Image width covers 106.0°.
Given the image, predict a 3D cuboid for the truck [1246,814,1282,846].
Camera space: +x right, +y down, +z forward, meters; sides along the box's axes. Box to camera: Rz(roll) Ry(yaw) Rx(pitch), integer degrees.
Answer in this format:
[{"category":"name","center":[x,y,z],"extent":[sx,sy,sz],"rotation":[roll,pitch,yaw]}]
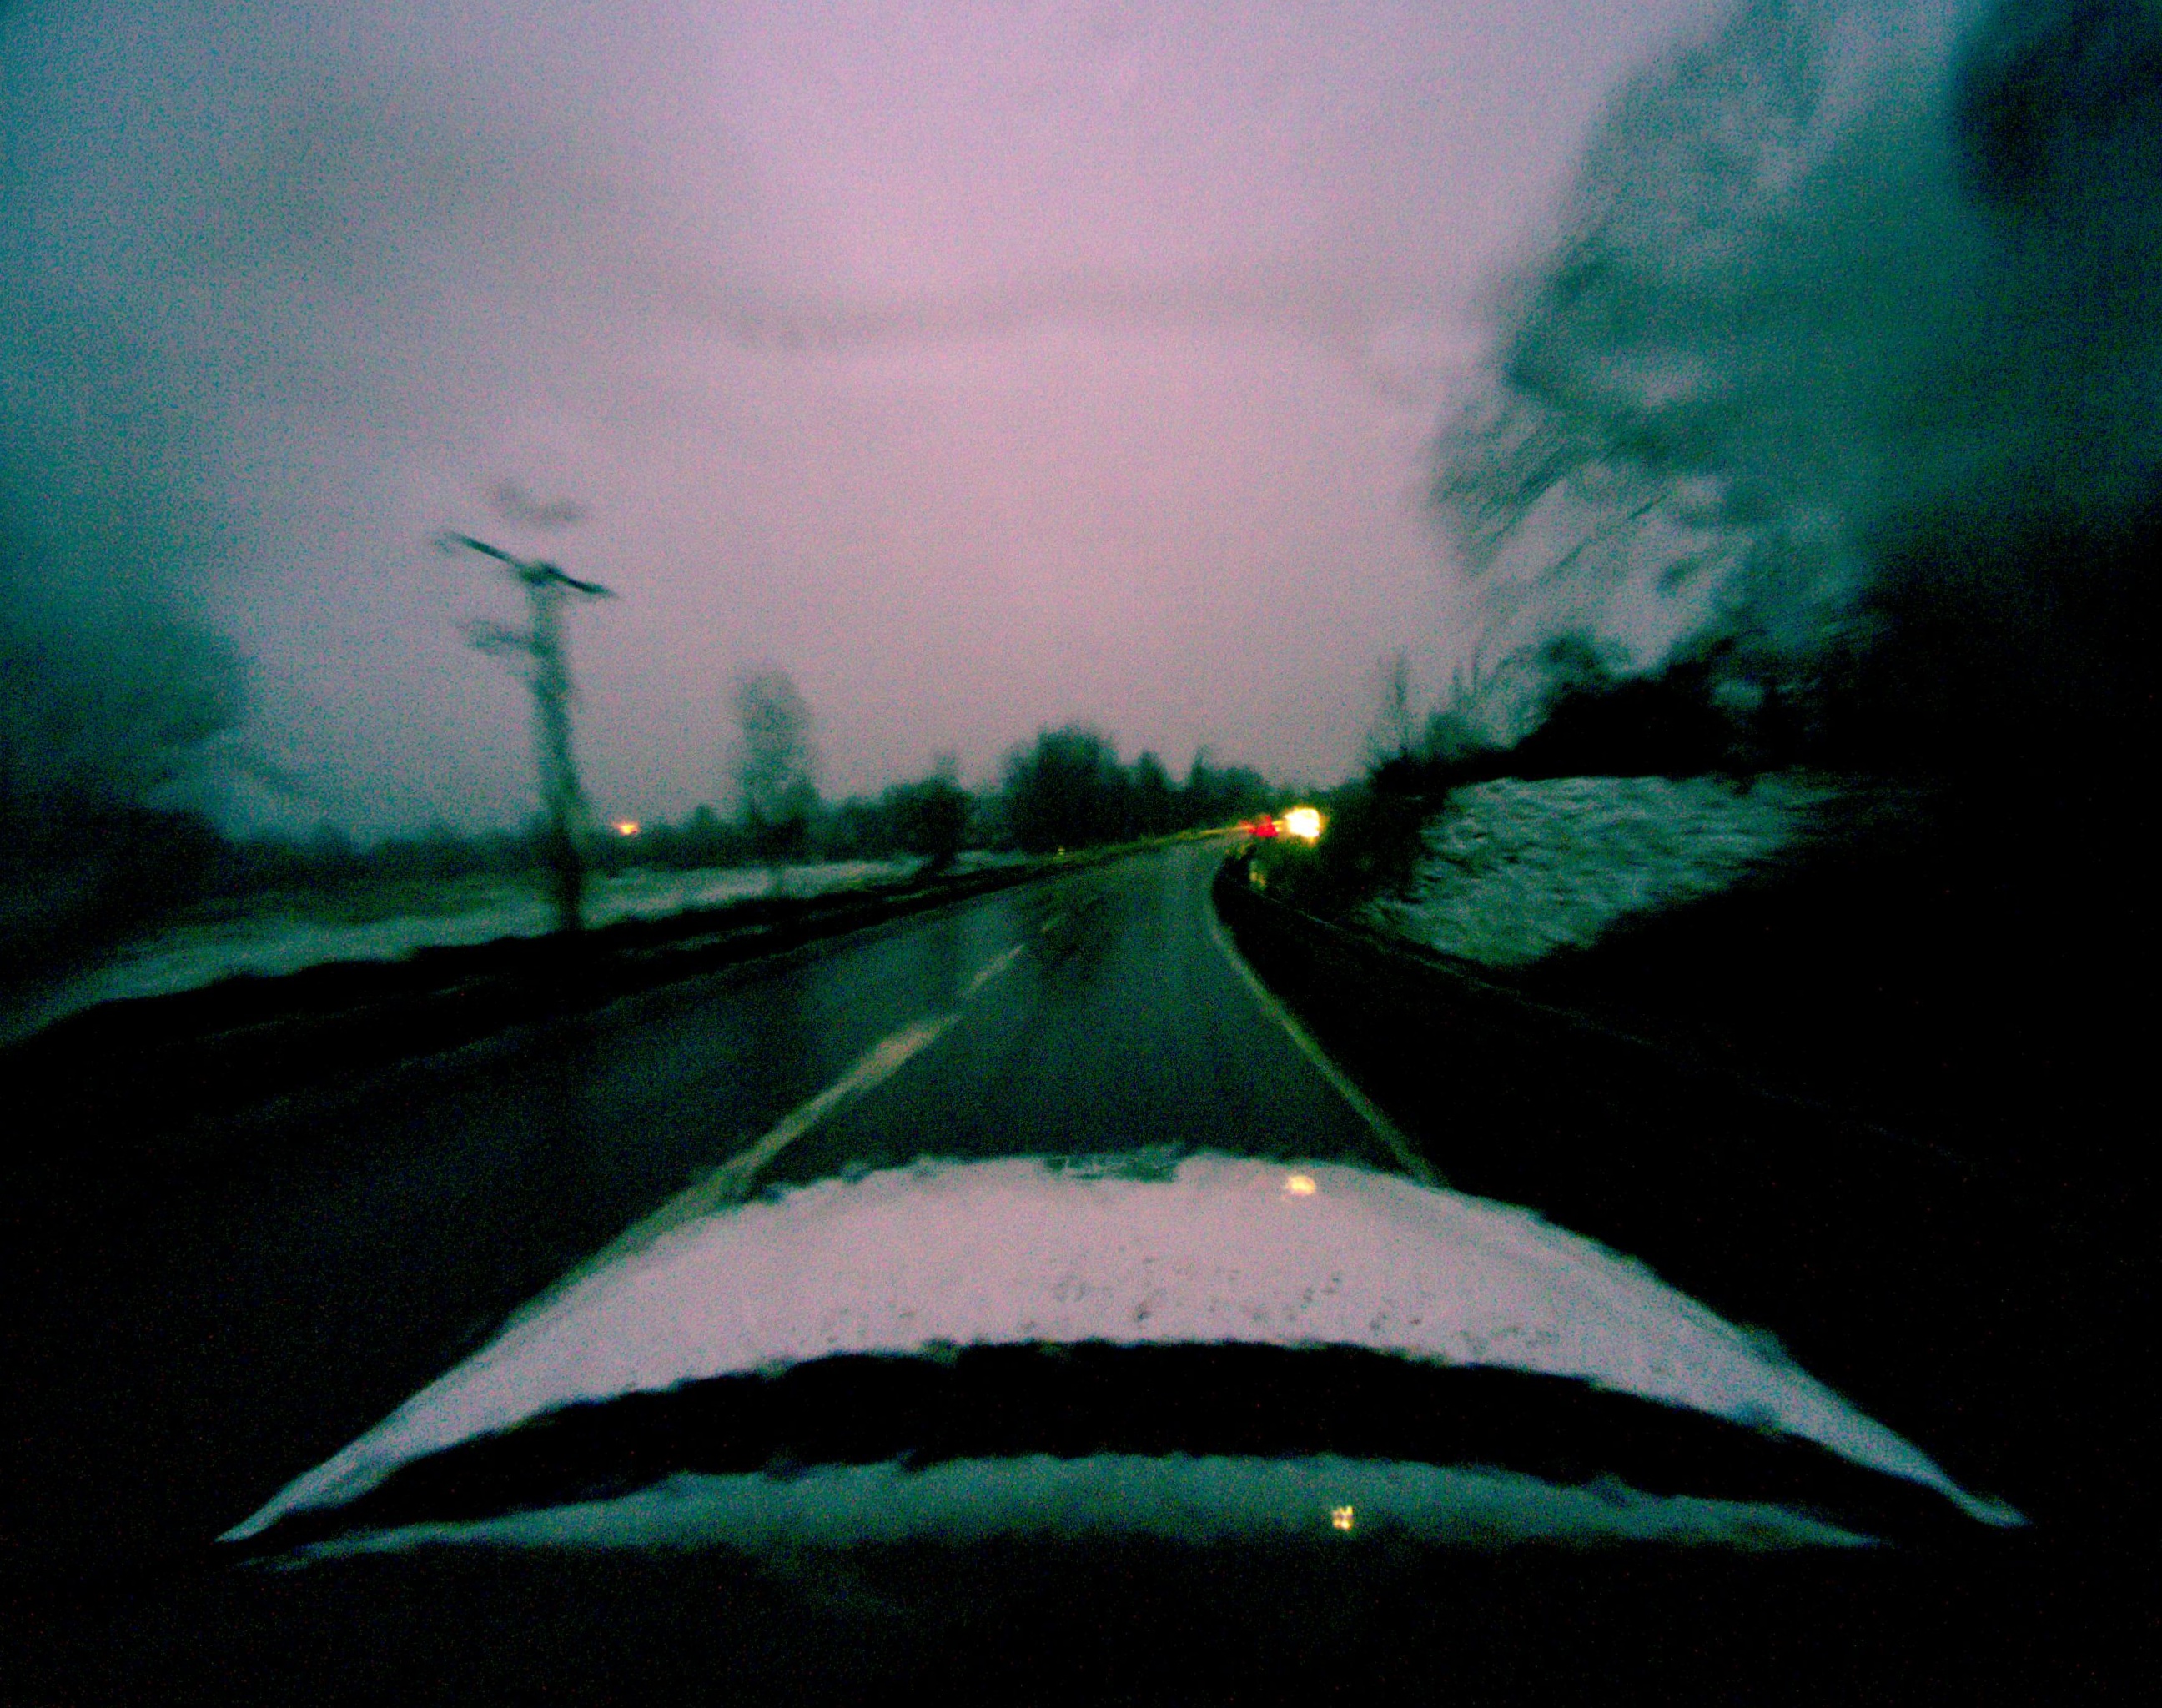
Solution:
[{"category":"truck","center":[18.626,-2.491,82.686],"extent":[2.509,2.868,5.956],"rotation":[-3,2,23]}]
